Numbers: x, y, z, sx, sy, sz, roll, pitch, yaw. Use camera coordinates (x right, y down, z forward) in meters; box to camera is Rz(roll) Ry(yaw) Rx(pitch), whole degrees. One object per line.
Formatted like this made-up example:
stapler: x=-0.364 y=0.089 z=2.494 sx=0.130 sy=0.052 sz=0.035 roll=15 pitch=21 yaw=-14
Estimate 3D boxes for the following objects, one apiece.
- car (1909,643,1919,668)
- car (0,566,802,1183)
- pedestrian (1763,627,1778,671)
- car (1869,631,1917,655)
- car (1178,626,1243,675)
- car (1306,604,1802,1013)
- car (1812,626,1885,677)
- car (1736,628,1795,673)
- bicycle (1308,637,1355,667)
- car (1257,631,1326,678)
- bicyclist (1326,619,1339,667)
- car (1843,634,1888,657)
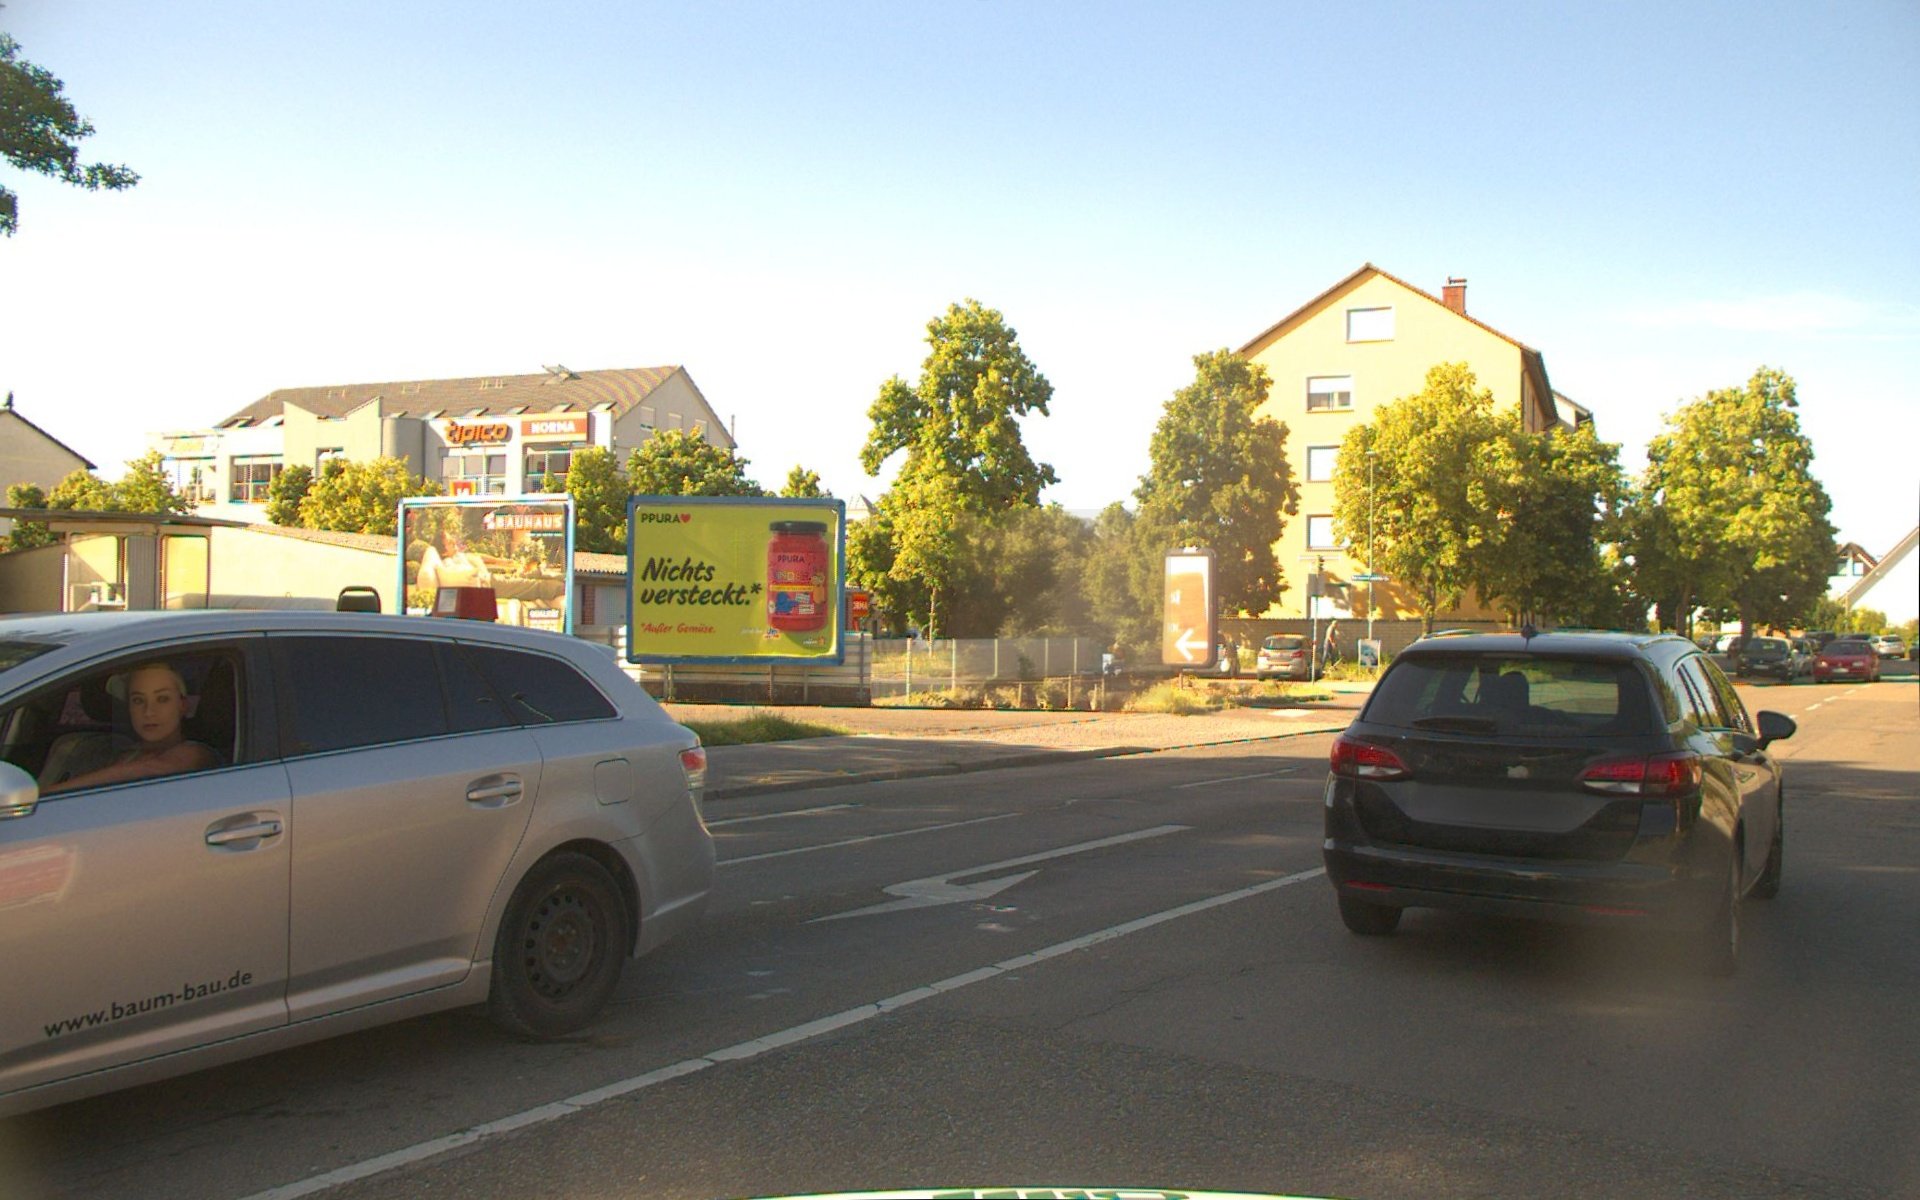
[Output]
car: x=57.901 y=3.295 z=97.988 sx=1.963 sy=1.501 sz=4.296 roll=-1 pitch=-2 yaw=17
car: x=-2.695 y=0.704 z=5.257 sx=1.803 sy=1.515 sz=4.877 roll=-1 pitch=-2 yaw=32
pedestrian: x=32.865 y=1.987 z=67.088 sx=0.495 sy=1.792 sz=0.694 roll=-1 pitch=-4 yaw=29
car: x=60.322 y=2.803 z=107.013 sx=1.781 sy=1.561 sz=4.261 roll=-1 pitch=-2 yaw=16
car: x=8.715 y=1.720 z=57.316 sx=1.662 sy=1.650 sz=3.883 roll=0 pitch=-1 yaw=17
car: x=3.291 y=0.848 z=8.555 sx=1.728 sy=1.517 sz=4.283 roll=1 pitch=-1 yaw=29
car: x=30.511 y=1.724 z=56.755 sx=1.975 sy=1.596 sz=4.382 roll=1 pitch=0 yaw=31
car: x=29.455 y=1.855 z=60.433 sx=1.669 sy=1.506 sz=4.044 roll=2 pitch=-2 yaw=30
bicycle: x=13.183 y=1.847 z=58.714 sx=1.583 sy=1.029 sz=0.406 roll=1 pitch=-3 yaw=1
car: x=11.093 y=1.784 z=55.155 sx=1.693 sy=1.490 sz=3.882 roll=0 pitch=-1 yaw=20
bicyclist: x=13.216 y=1.530 z=58.733 sx=0.380 sy=1.715 sz=0.382 roll=1 pitch=-3 yaw=2
car: x=61.518 y=3.110 z=112.411 sx=1.781 sy=1.561 sz=4.261 roll=-1 pitch=-2 yaw=16
